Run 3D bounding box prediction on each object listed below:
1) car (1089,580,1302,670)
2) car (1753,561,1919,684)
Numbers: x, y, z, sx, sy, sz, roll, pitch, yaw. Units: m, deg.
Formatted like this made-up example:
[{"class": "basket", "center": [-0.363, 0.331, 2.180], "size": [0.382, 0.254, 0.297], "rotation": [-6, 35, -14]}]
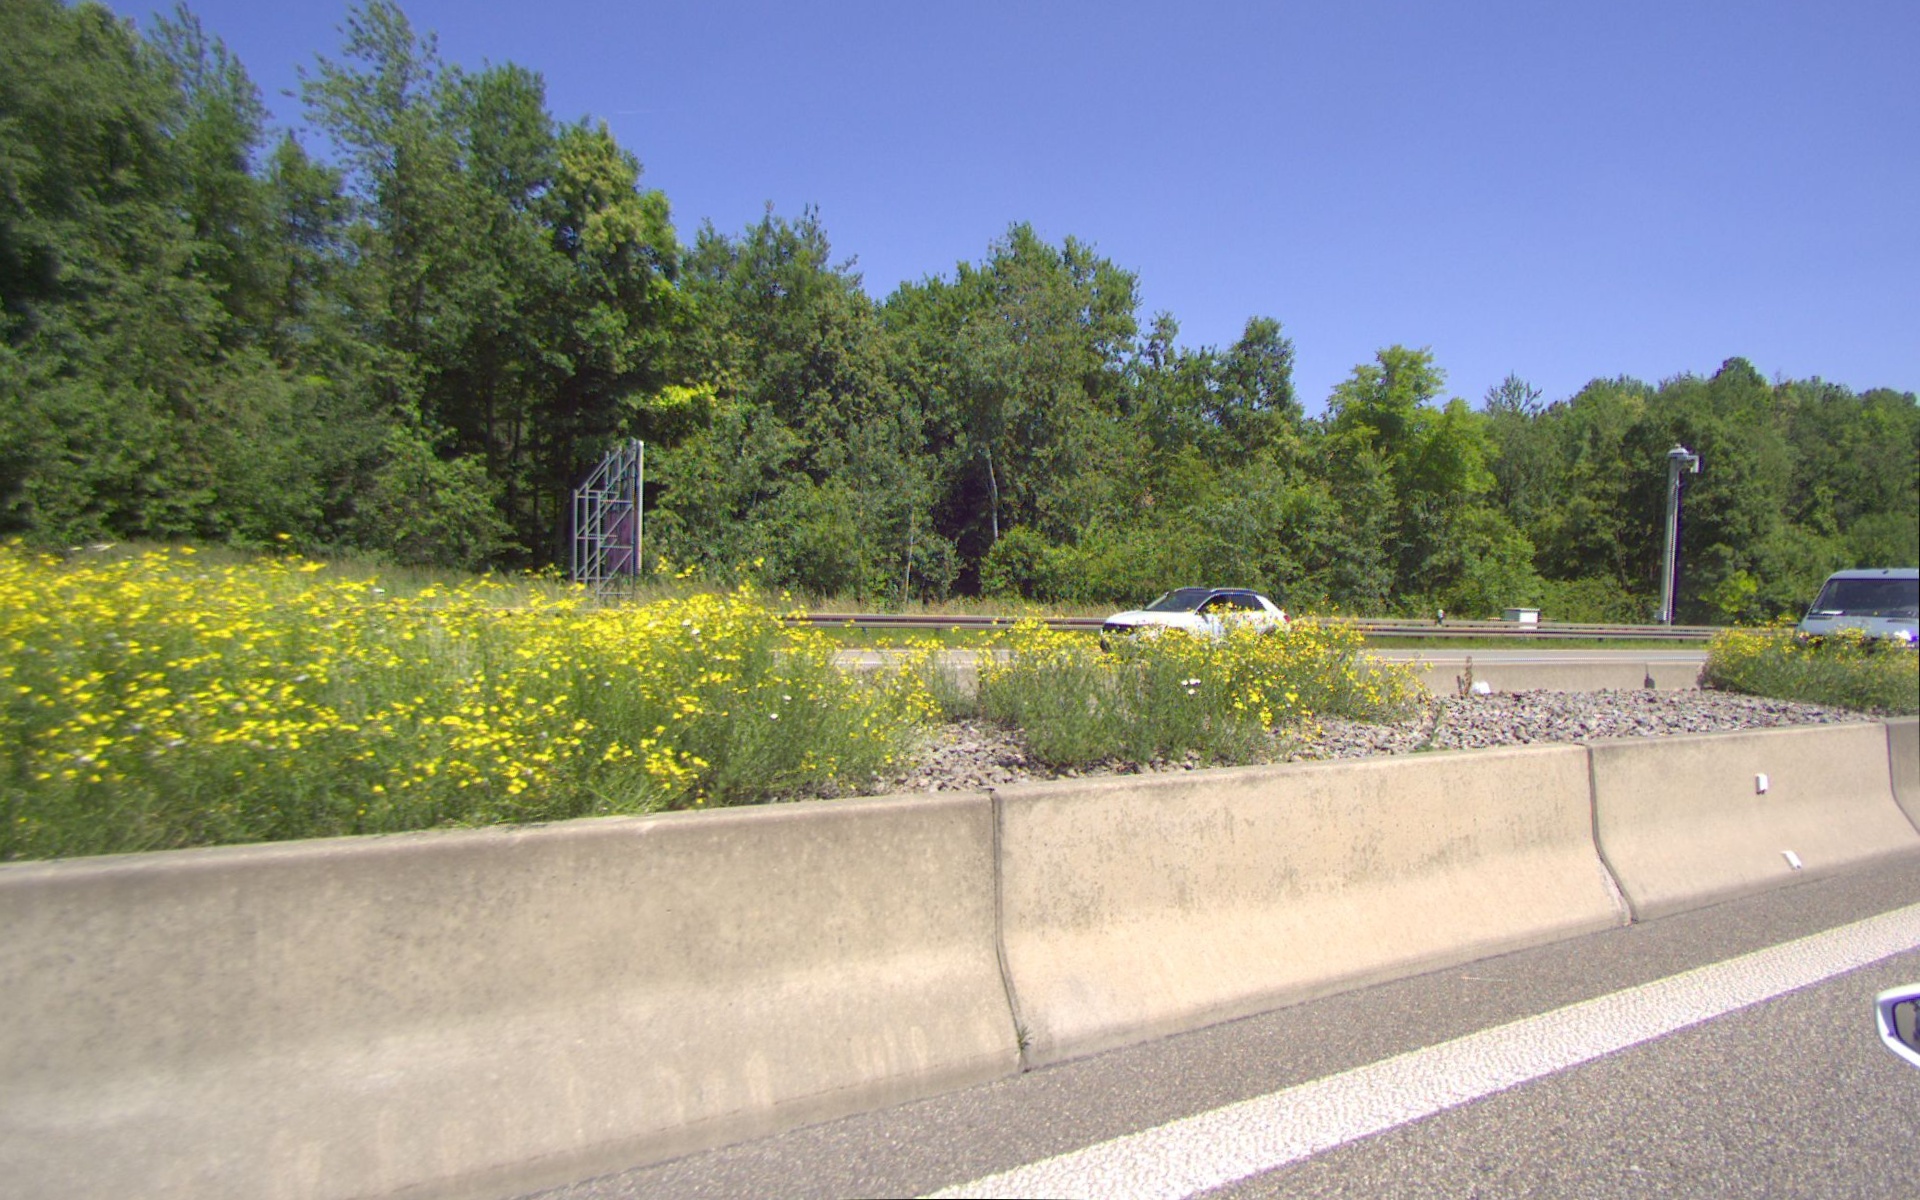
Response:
[{"class": "car", "center": [4.759, 0.513, 20.172], "size": [4.070, 1.650, 1.767], "rotation": [2, 0, -30]}, {"class": "car", "center": [18.001, 0.455, 19.029], "size": [6.103, 2.040, 2.314], "rotation": [2, 0, -27]}]
